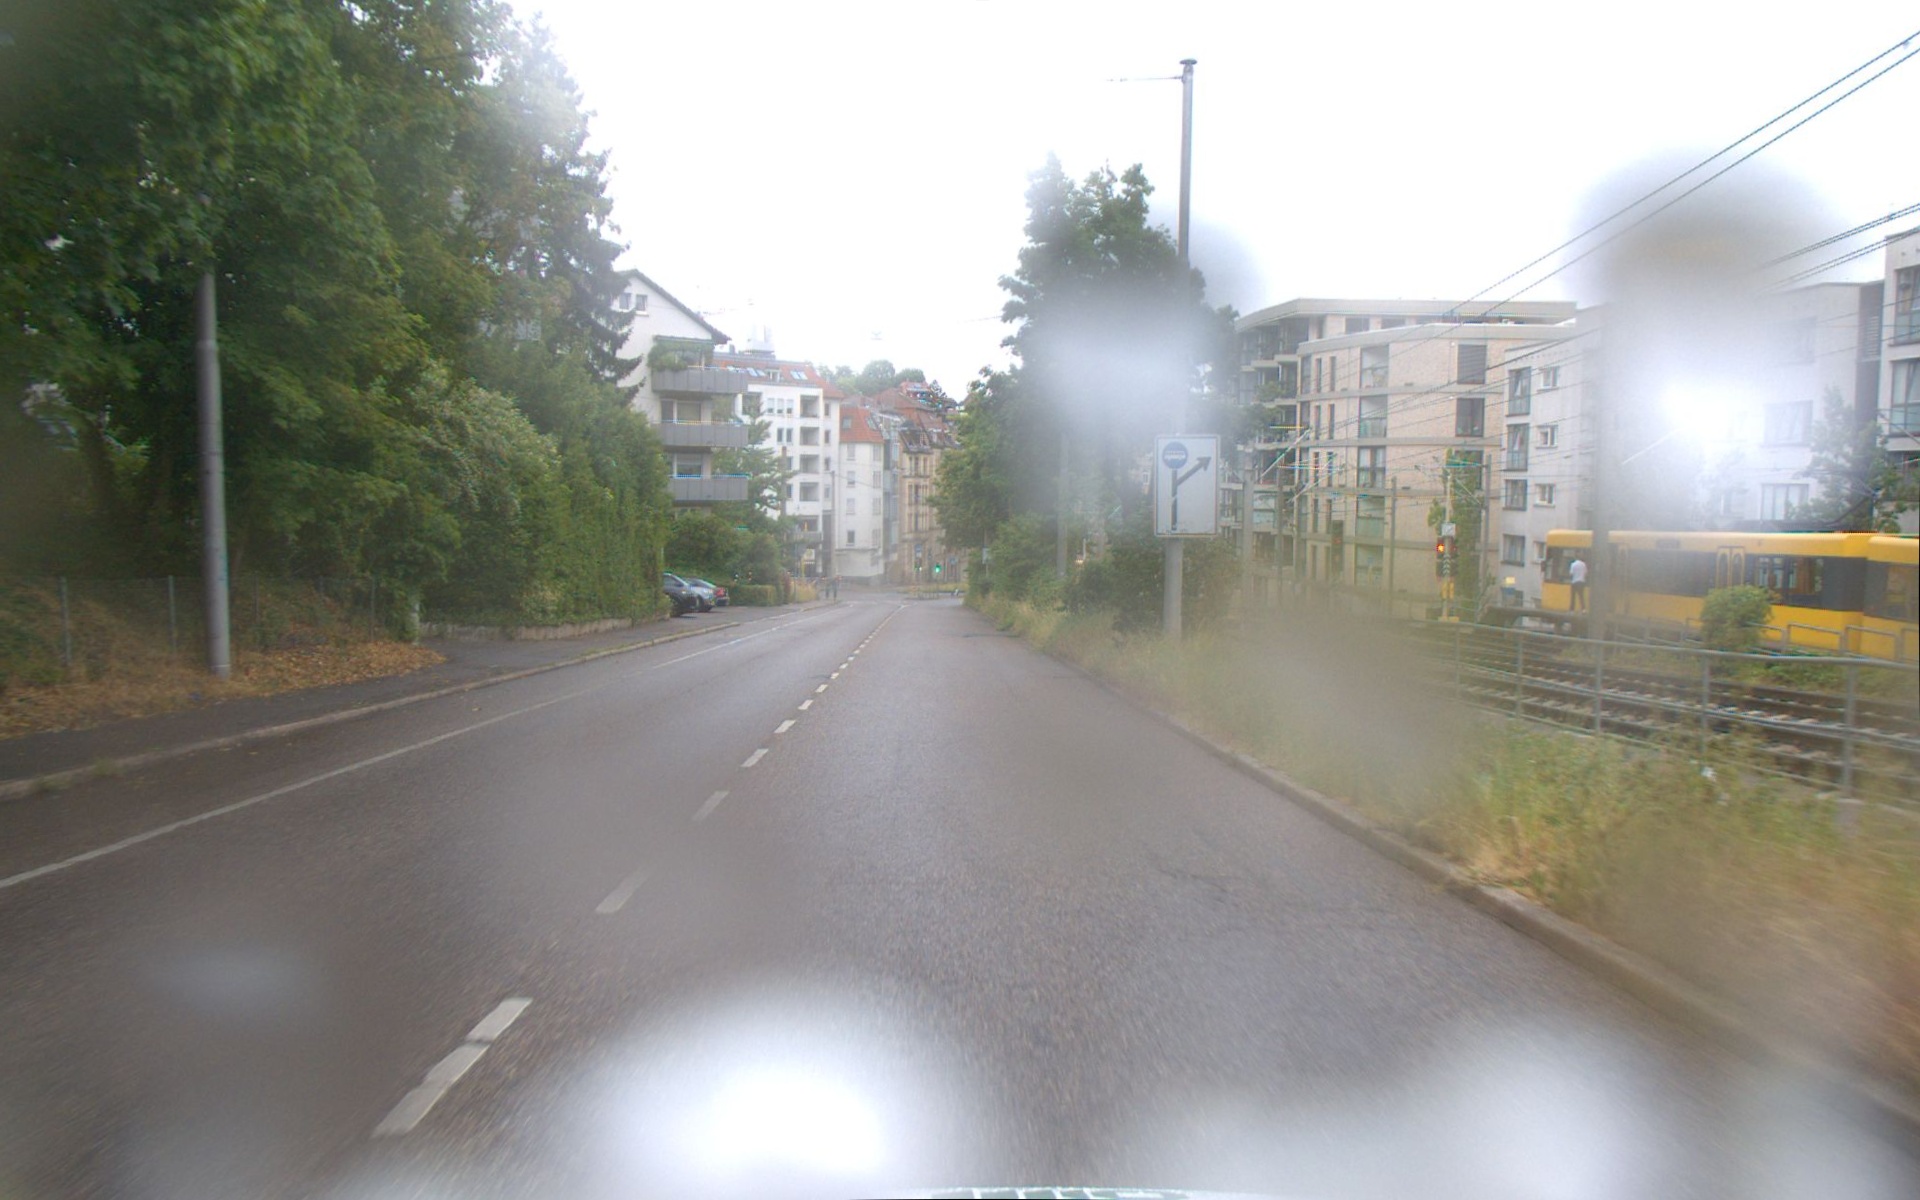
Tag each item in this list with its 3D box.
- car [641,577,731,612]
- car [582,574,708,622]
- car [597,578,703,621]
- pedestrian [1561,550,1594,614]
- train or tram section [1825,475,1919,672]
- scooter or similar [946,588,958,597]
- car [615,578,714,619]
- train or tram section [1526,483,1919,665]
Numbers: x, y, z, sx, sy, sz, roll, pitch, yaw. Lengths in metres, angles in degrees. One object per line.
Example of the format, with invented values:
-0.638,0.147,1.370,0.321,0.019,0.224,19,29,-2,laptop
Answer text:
-11.777,-0.230,71.256,3.557,1.431,1.783,1,0,0,car
-11.636,-0.096,61.300,4.359,1.630,1.814,1,2,-2,car
-10.930,-0.002,58.495,3.563,1.430,1.713,1,0,-8,car
18.713,-0.546,50.130,0.707,1.913,0.817,1,-1,-1,pedestrian
21.319,-0.446,27.580,3.263,4.016,19.276,1,1,-1,train or tram section
-0.698,-0.690,145.141,0.475,0.774,1.328,0,0,26,scooter or similar
-12.317,-0.067,69.110,3.910,1.587,1.878,1,0,-6,car
20.881,-0.667,46.186,3.263,4.016,18.808,1,1,-1,train or tram section
